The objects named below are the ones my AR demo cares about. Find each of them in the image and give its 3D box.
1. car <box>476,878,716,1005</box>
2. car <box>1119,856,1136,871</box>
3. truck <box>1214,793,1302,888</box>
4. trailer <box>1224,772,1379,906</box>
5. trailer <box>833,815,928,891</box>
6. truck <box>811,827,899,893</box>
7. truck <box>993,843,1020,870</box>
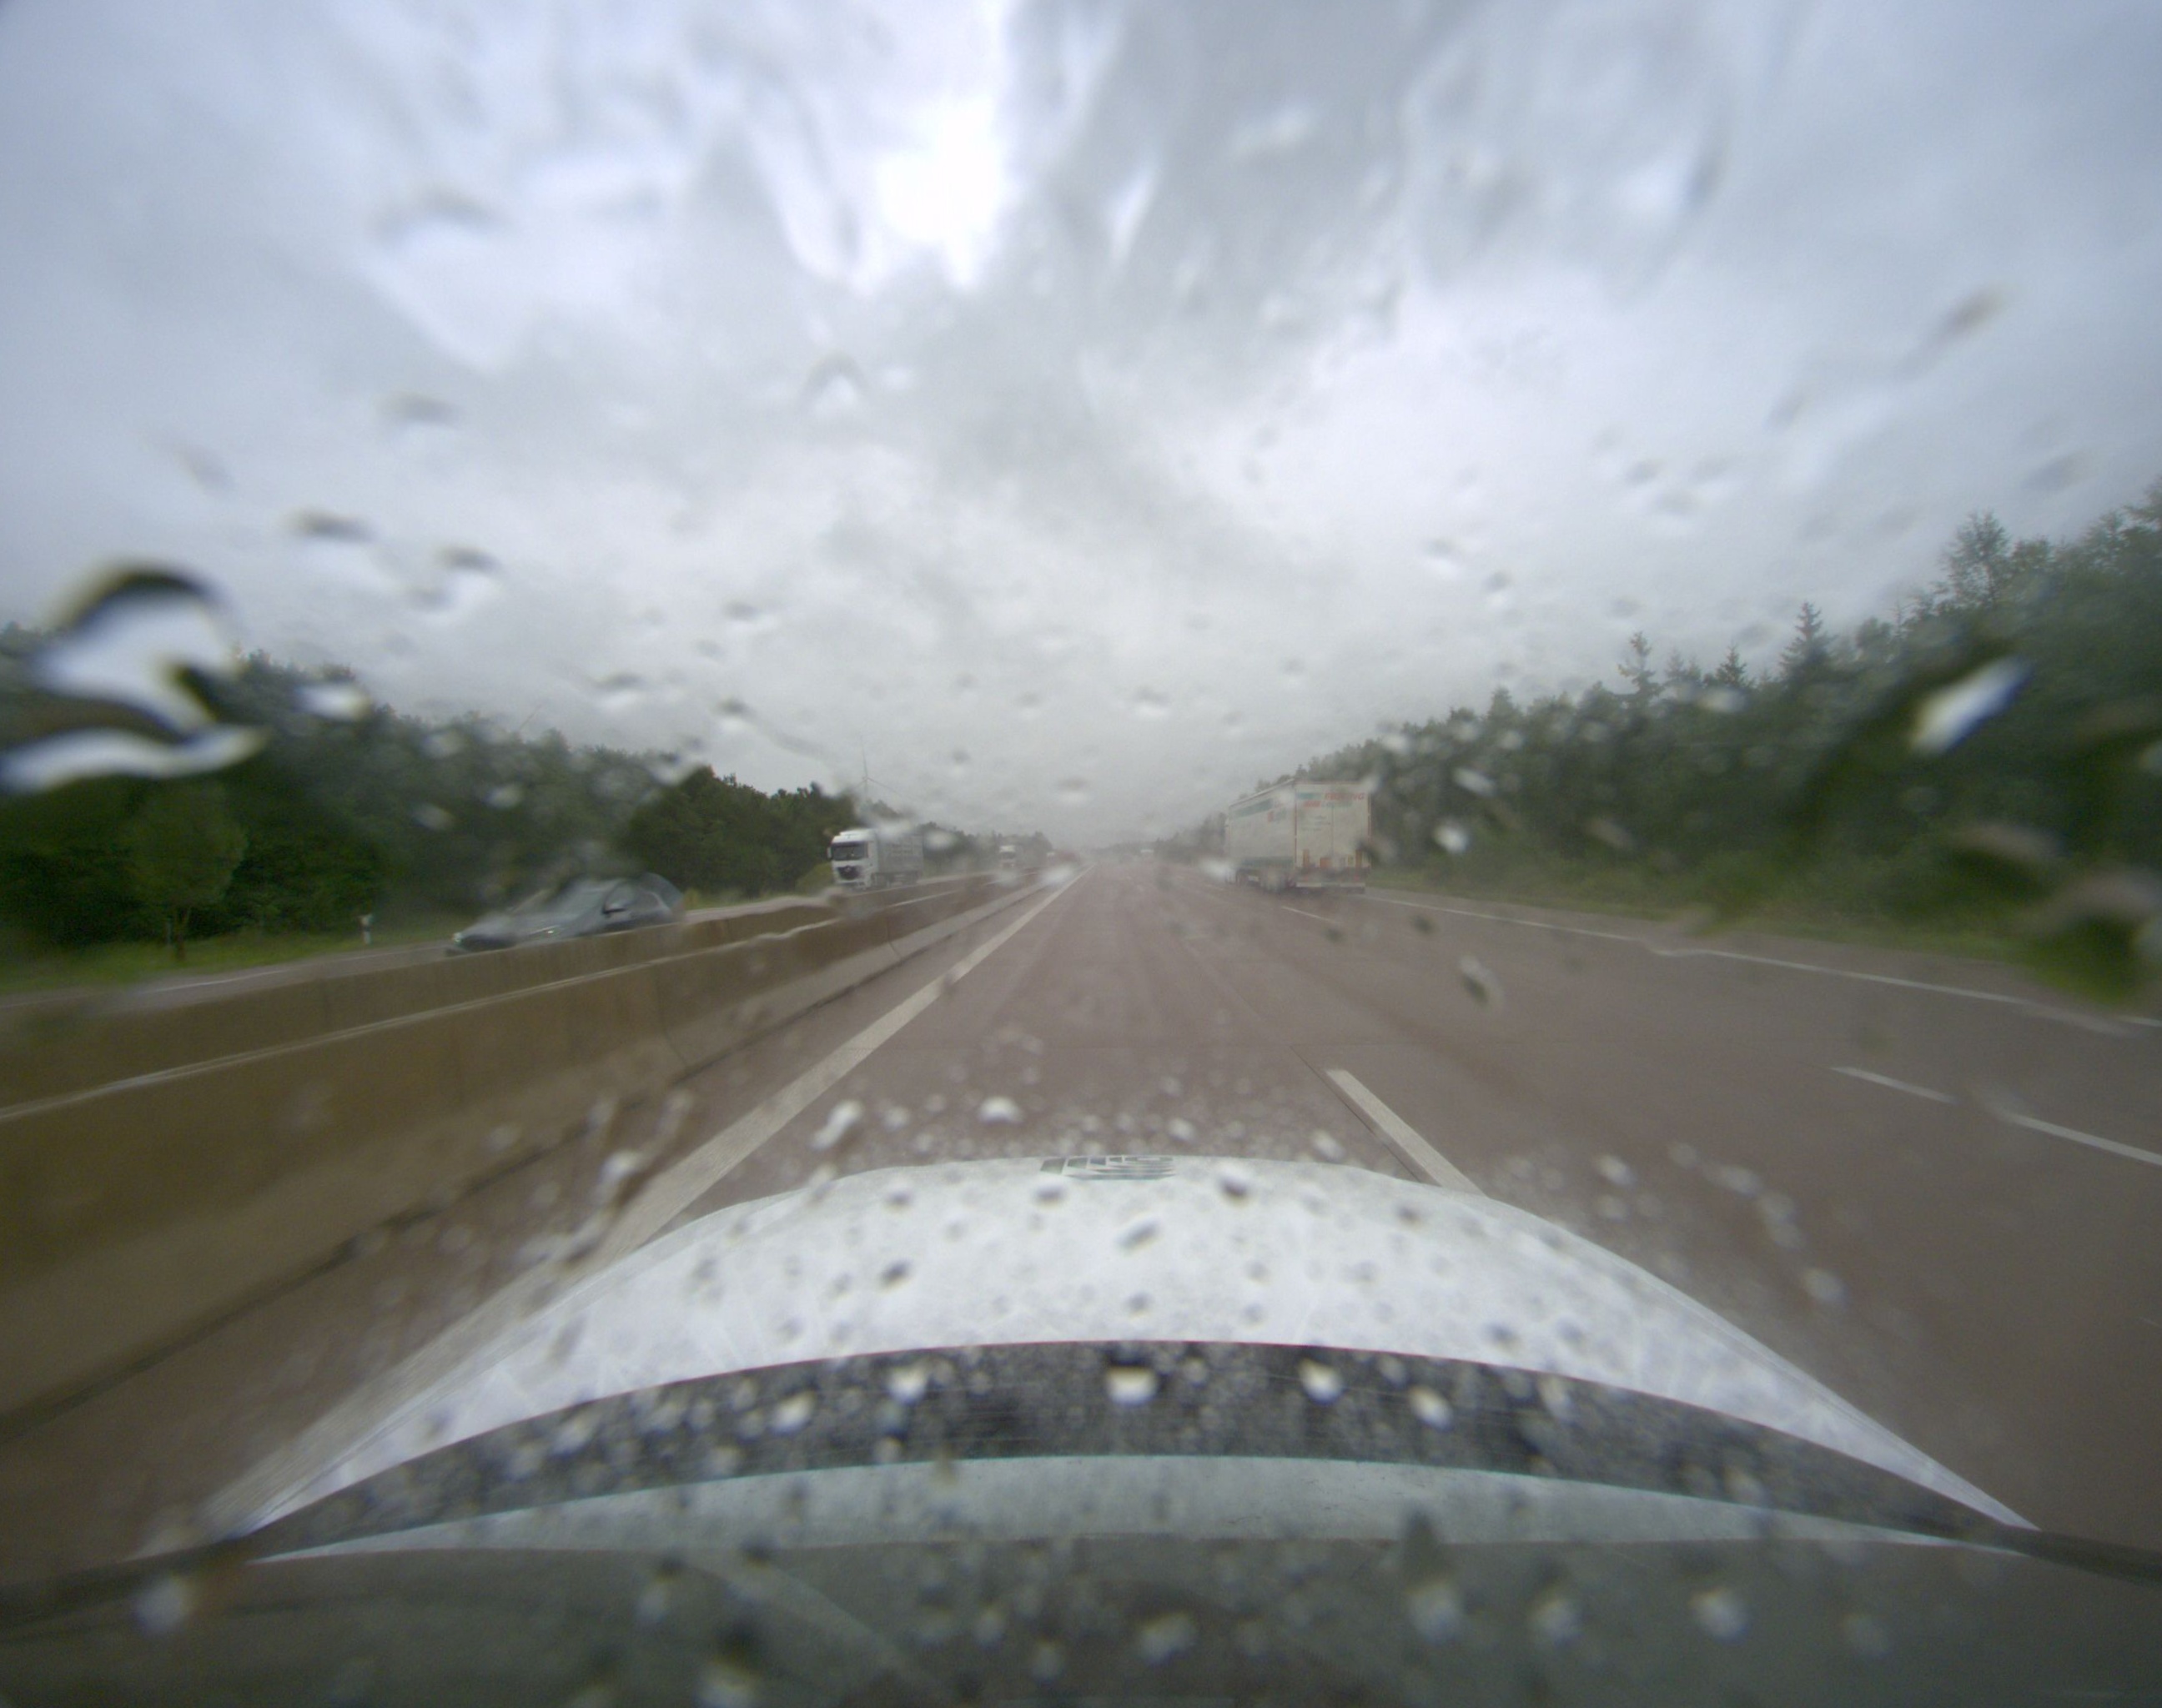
[{"bbox_3d":[-8.432,1.420,14.635,1.781,1.796,3.879,-3,0,2],"label":"car"},{"bbox_3d":[6.431,1.317,113.082,2.165,1.981,4.132,-3,0,2],"label":"car"},{"bbox_3d":[8.451,-0.631,39.619,2.870,4.106,6.351,-3,0,1],"label":"truck"},{"bbox_3d":[8.333,-0.525,33.077,2.842,4.231,13.135,-3,0,1],"label":"trailer"},{"bbox_3d":[-14.675,-0.031,61.054,3.418,4.866,12.448,-4,-1,1],"label":"trailer"},{"bbox_3d":[-14.878,0.400,54.344,3.460,3.888,7.465,-4,-1,1],"label":"truck"},{"bbox_3d":[-12.026,0.448,132.653,3.407,4.360,7.949,0,-1,1],"label":"truck"}]
